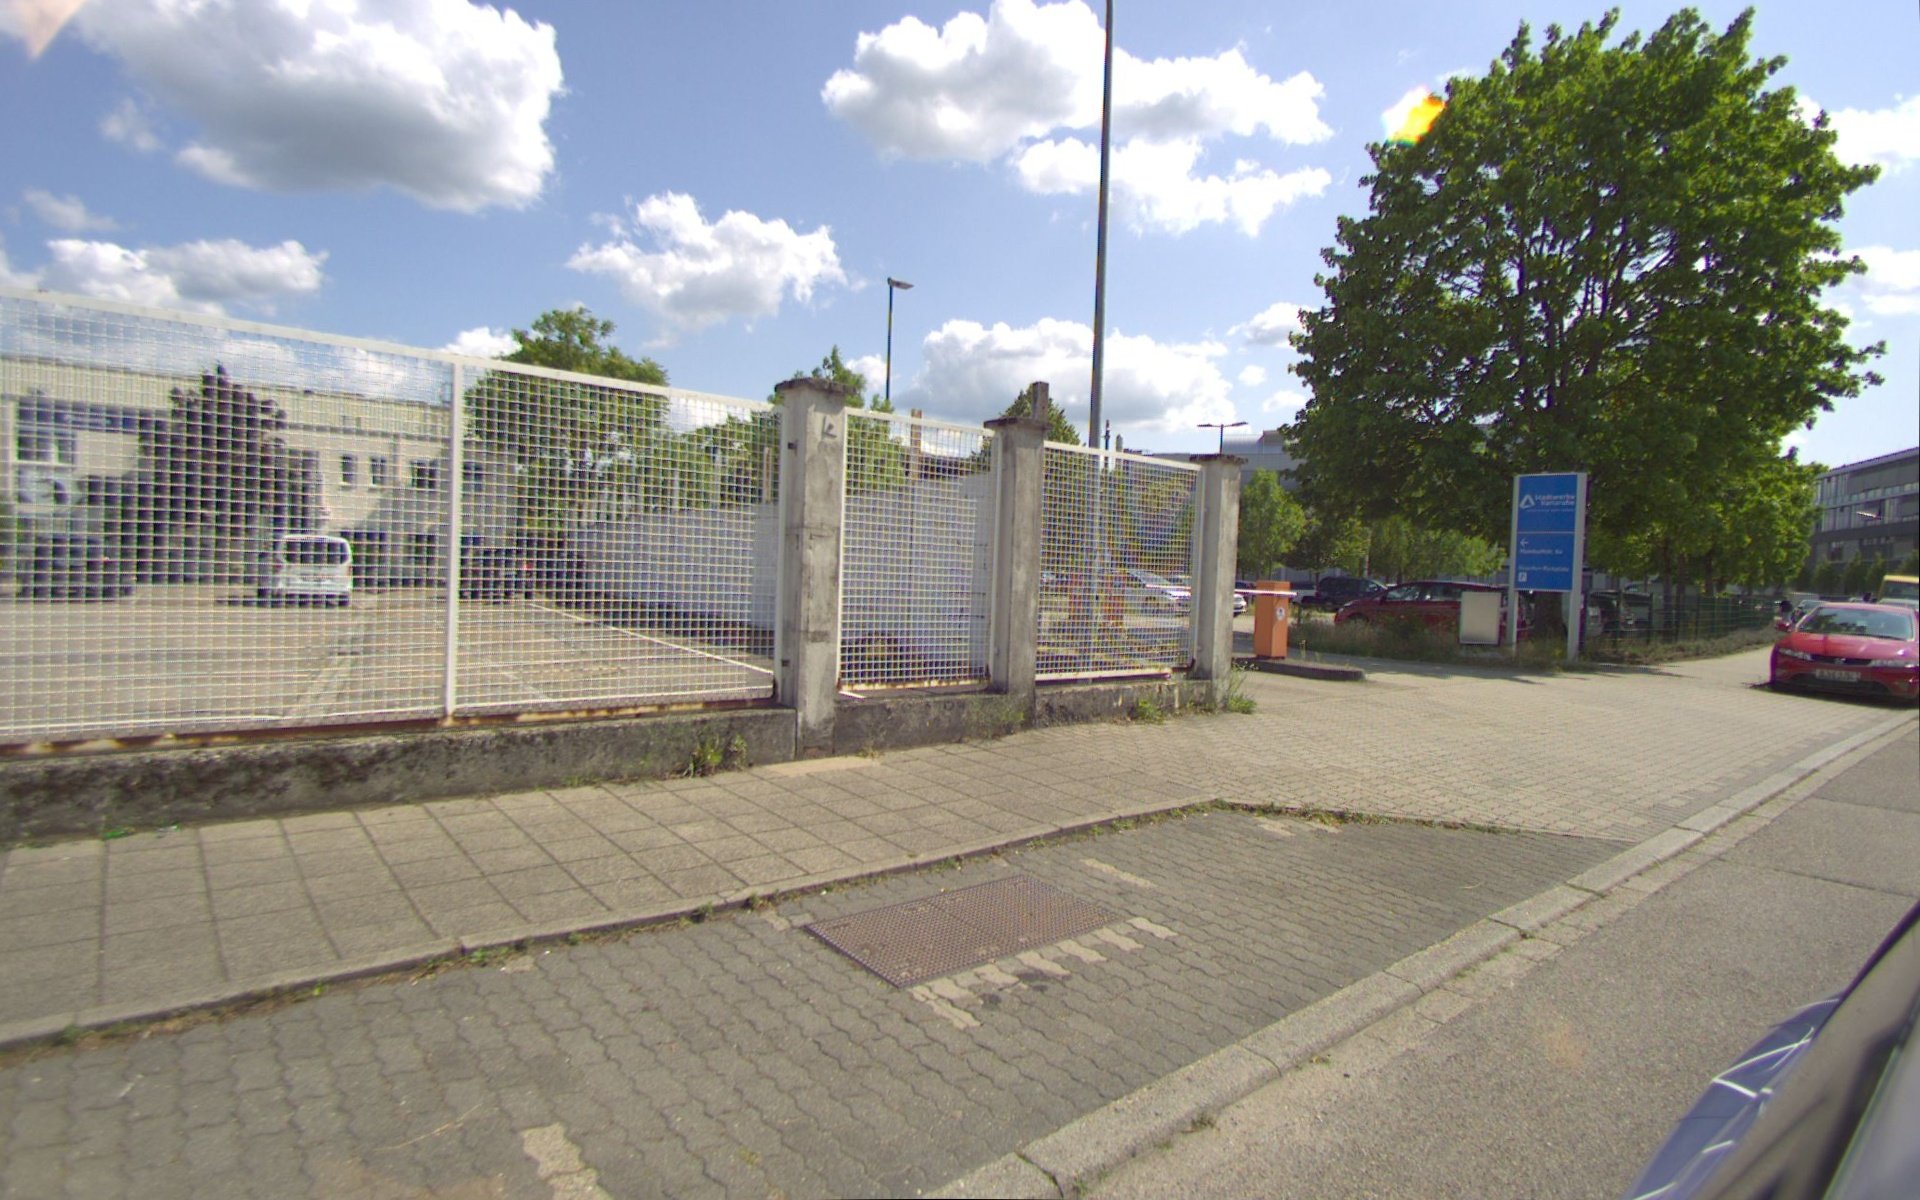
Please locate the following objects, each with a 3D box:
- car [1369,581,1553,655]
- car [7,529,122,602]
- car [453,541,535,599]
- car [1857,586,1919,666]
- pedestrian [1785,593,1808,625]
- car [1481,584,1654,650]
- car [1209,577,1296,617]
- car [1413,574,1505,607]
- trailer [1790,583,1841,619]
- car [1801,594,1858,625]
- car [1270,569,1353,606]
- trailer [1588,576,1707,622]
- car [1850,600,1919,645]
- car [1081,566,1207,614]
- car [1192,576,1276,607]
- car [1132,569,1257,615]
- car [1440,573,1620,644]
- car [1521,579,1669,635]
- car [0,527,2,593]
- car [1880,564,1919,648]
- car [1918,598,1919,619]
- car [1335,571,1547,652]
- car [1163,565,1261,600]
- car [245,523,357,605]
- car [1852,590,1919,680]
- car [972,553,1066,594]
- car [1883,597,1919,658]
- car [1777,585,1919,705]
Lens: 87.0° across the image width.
[{"bbox_3d":[13.150,0.415,26.708,1.876,1.612,3.884,0,3,-40],"label":"car"},{"bbox_3d":[-22.205,-0.896,25.238,1.900,1.660,3.921,1,3,-38],"label":"car"},{"bbox_3d":[-14.606,-0.916,31.613,1.879,1.671,4.003,1,1,-31],"label":"car"},{"bbox_3d":[22.164,0.615,23.209,4.491,1.626,1.837,1,6,-43],"label":"car"},{"bbox_3d":[47.029,0.478,56.929,0.718,1.713,0.731,7,3,31],"label":"pedestrian"},{"bbox_3d":[17.692,0.450,29.587,1.876,1.612,3.884,0,3,-40],"label":"car"},{"bbox_3d":[15.839,-0.180,54.963,4.073,1.959,1.971,3,2,38],"label":"car"},{"bbox_3d":[31.078,-0.636,63.102,4.839,1.788,1.890,4,2,37],"label":"car"},{"bbox_3d":[55.448,0.064,65.655,1.738,2.092,3.904,6,3,31],"label":"trailer"},{"bbox_3d":[53.188,0.537,61.977,1.854,1.702,4.656,6,3,32],"label":"car"},{"bbox_3d":[20.454,-0.753,58.933,4.073,1.959,1.971,3,2,38],"label":"car"},{"bbox_3d":[36.342,-0.082,53.596,5.034,2.108,2.035,4,2,36],"label":"trailer"},{"bbox_3d":[42.820,0.989,46.887,1.847,1.787,5.009,6,4,37],"label":"car"},{"bbox_3d":[6.054,-0.351,33.630,1.976,1.413,3.765,1,2,-37],"label":"car"},{"bbox_3d":[13.999,-0.449,51.817,3.742,1.431,1.728,2,-1,38],"label":"car"},{"bbox_3d":[8.180,-0.295,35.568,1.809,1.413,4.017,1,2,-37],"label":"car"},{"bbox_3d":[15.677,0.183,27.983,1.876,1.657,3.884,0,3,-40],"label":"car"},{"bbox_3d":[22.832,0.201,36.453,4.310,1.641,1.739,5,3,38],"label":"car"},{"bbox_3d":[-24.060,-0.892,23.780,1.900,1.659,3.923,1,4,-38],"label":"car"},{"bbox_3d":[31.449,0.216,32.818,2.158,2.494,6.535,5,3,43],"label":"car"},{"bbox_3d":[67.514,0.642,69.295,1.722,1.463,3.894,1,1,27],"label":"car"},{"bbox_3d":[11.577,0.212,24.577,1.876,1.612,4.219,0,3,-40],"label":"car"},{"bbox_3d":[12.330,-0.883,49.645,4.264,1.576,1.971,3,2,40],"label":"car"},{"bbox_3d":[-18.600,-1.068,28.443,1.902,1.971,5.064,0,4,-41],"label":"car"},{"bbox_3d":[18.278,0.664,19.272,1.701,1.503,3.748,8,6,43],"label":"car"},{"bbox_3d":[3.184,-1.437,55.343,4.921,2.130,2.080,2,1,41],"label":"car"},{"bbox_3d":[26.489,0.757,27.503,1.877,1.494,5.087,7,5,43],"label":"car"},{"bbox_3d":[14.419,0.645,15.799,4.150,1.503,1.759,1,5,-41],"label":"car"}]
